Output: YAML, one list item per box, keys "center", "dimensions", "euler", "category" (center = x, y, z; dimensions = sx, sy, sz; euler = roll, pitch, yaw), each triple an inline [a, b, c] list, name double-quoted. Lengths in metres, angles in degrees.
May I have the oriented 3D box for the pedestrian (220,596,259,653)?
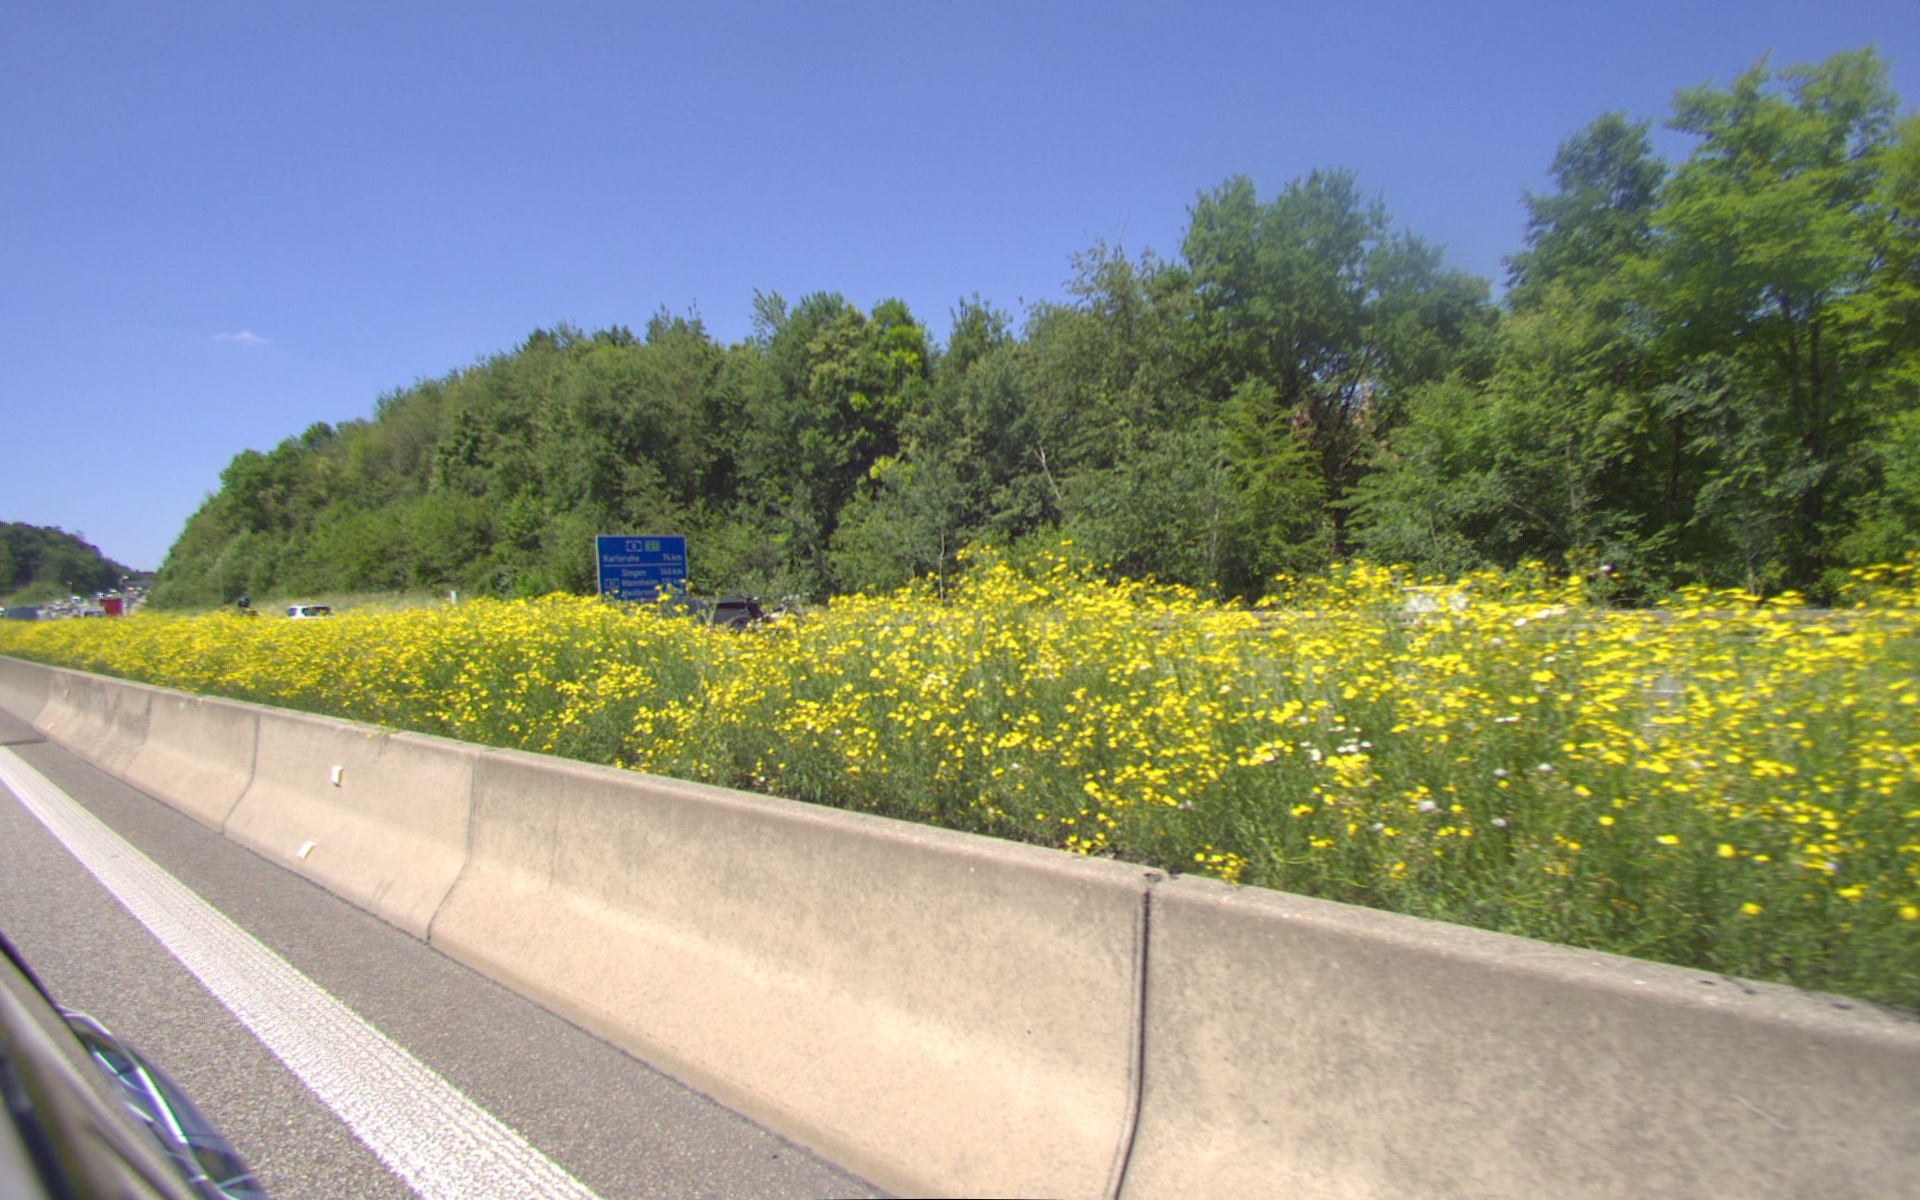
- center: [-17.998, 0.608, 25.281]
  dimensions: [0.531, 1.375, 0.655]
  euler: [-2, 0, 41]
  category: "pedestrian"

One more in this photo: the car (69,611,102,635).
- center: [-98.187, 2.541, 113.602]
  dimensions: [5.975, 2.643, 2.133]
  euler: [-1, 0, 43]
  category: "car"

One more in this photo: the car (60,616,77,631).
- center: [-154.392, 4.053, 175.248]
  dimensions: [1.971, 2.417, 4.002]
  euler: [-1, 0, -45]
  category: "car"

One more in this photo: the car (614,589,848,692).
- center: [-3.897, 0.631, 16.894]
  dimensions: [3.998, 1.500, 1.786]
  euler: [-2, 0, 41]
  category: "car"

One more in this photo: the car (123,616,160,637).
- center: [-65.526, 2.113, 81.022]
  dimensions: [4.118, 1.641, 1.756]
  euler: [-1, 0, 43]
  category: "car"

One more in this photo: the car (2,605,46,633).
- center: [-73.922, 1.490, 79.902]
  dimensions: [6.186, 2.029, 2.296]
  euler: [-1, 0, 45]
  category: "car"

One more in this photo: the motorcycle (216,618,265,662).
- center: [-17.968, 0.988, 25.264]
  dimensions: [1.475, 1.049, 0.660]
  euler: [-2, 0, 41]
  category: "motorcycle"

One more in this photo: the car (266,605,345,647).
- center: [-29.704, 1.180, 45.877]
  dimensions: [4.320, 1.778, 1.862]
  euler: [-2, 0, 41]
  category: "car"

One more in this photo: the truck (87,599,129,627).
- center: [-123.442, 1.877, 146.497]
  dimensions: [3.875, 3.746, 16.758]
  euler: [-1, 0, -43]
  category: "truck"
